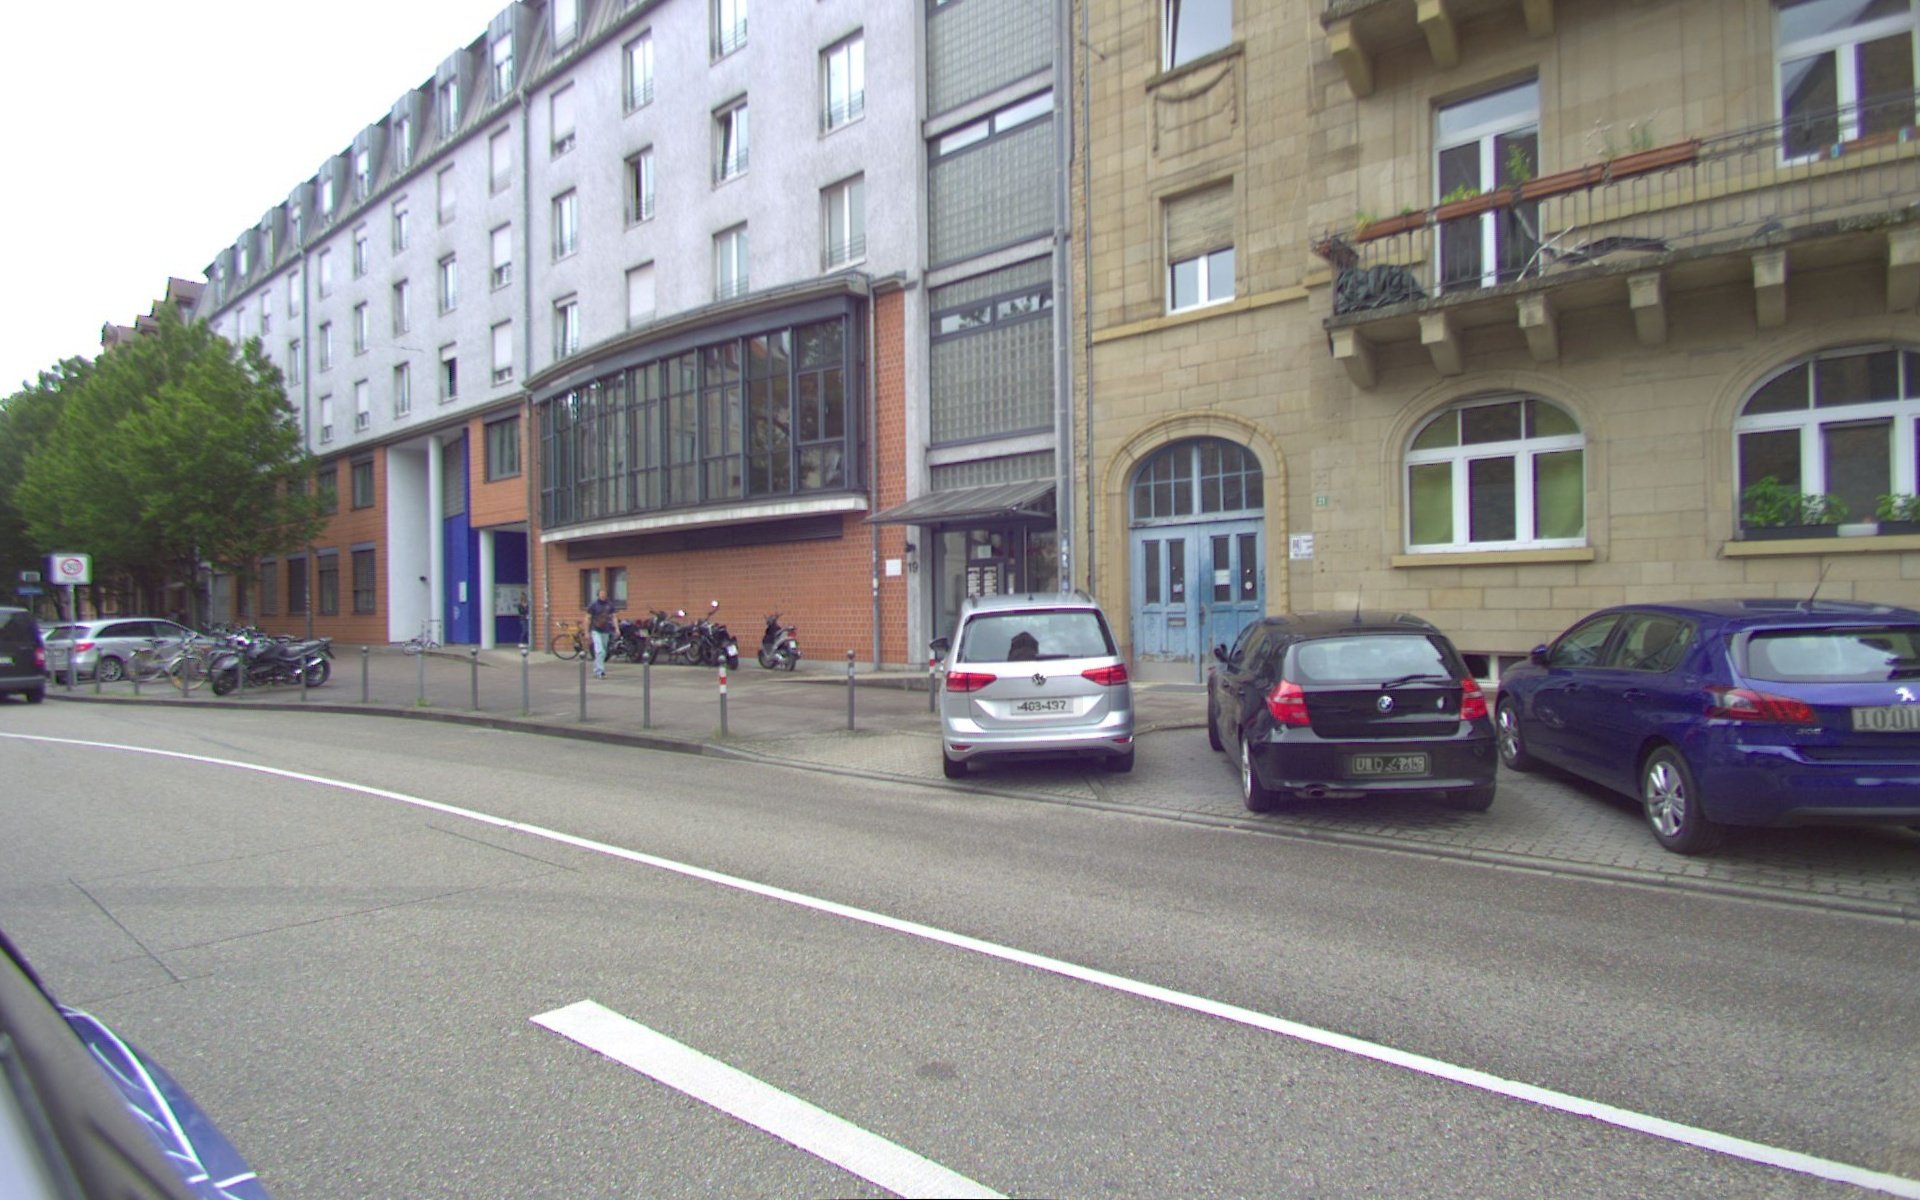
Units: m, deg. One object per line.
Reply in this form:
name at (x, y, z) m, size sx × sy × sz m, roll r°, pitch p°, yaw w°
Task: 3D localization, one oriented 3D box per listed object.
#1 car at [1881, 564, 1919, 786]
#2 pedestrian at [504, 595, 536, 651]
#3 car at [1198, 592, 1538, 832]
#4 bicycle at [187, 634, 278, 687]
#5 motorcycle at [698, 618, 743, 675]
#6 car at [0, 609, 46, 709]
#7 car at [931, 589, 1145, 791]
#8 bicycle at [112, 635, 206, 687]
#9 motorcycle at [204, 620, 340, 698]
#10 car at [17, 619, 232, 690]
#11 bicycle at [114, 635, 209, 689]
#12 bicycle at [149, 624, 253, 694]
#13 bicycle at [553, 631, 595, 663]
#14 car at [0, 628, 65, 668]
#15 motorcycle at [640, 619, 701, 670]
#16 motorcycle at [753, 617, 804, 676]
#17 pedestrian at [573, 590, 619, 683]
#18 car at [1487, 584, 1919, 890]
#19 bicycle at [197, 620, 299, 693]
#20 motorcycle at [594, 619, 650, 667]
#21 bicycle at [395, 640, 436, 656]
car at (7.534, 0.541, 5.383) m, size 1.681 × 1.565 × 3.997 m, roll -2°, pitch 1°, yaw 3°
pedestrian at (-13.466, 0.696, 30.967) m, size 0.622 × 1.662 × 0.677 m, roll -1°, pitch 0°, yaw 42°
car at (3.092, 0.727, 8.538) m, size 1.713 × 1.449 × 3.990 m, roll -2°, pitch 1°, yaw 9°
bicycle at (-16.629, 1.359, 23.154) m, size 0.416 × 1.082 × 1.610 m, roll -2°, pitch 1°, yaw 39°
motorcycle at (-4.946, 0.932, 20.835) m, size 0.438 × 1.106 × 1.768 m, roll 0°, pitch -1°, yaw -29°
car at (-19.322, 1.119, 19.662) m, size 4.124 × 1.817 × 1.677 m, roll -2°, pitch -2°, yaw 39°
car at (0.682, 0.725, 10.360) m, size 1.710 × 1.565 × 3.999 m, roll -2°, pitch 1°, yaw 1°
bicycle at (-18.379, 1.383, 23.248) m, size 0.416 × 1.082 × 1.610 m, roll -2°, pitch 1°, yaw 39°
motorcycle at (-13.460, 1.119, 19.860) m, size 0.599 × 1.363 × 2.096 m, roll -1°, pitch 1°, yaw 41°
car at (-21.291, 1.341, 25.995) m, size 1.758 × 1.641 × 3.977 m, roll -1°, pitch -1°, yaw 18°
bicycle at (-18.062, 1.382, 22.925) m, size 0.416 × 1.082 × 1.610 m, roll -2°, pitch 1°, yaw 39°
bicycle at (-15.387, 1.173, 20.553) m, size 0.416 × 1.299 × 1.610 m, roll -2°, pitch 1°, yaw 39°
bicycle at (-9.814, 1.183, 25.707) m, size 1.581 × 0.793 × 0.332 m, roll -2°, pitch -1°, yaw 42°
car at (-37.717, 1.883, 39.413) m, size 1.723 × 1.508 × 3.977 m, roll -1°, pitch -1°, yaw 18°
motorcycle at (-6.463, 0.984, 22.569) m, size 1.762 × 1.106 × 0.440 m, roll -2°, pitch -1°, yaw 42°
motorcycle at (-3.593, 0.896, 19.937) m, size 0.438 × 1.106 × 1.768 m, roll 0°, pitch -1°, yaw -29°
pedestrian at (-7.288, 0.720, 20.253) m, size 0.642 × 1.837 × 0.613 m, roll -2°, pitch -1°, yaw 41°
car at (5.223, 0.680, 6.913) m, size 1.804 × 1.456 × 3.737 m, roll -2°, pitch 1°, yaw 10°
bicycle at (-14.434, 1.125, 20.543) m, size 0.416 × 1.363 × 1.610 m, roll -2°, pitch 1°, yaw 39°
motorcycle at (-7.988, 1.002, 23.873) m, size 1.762 × 1.106 × 0.440 m, roll -2°, pitch -1°, yaw 42°
bicycle at (-16.663, 1.456, 30.973) m, size 0.527 × 0.440 × 0.997 m, roll 1°, pitch 0°, yaw 42°
